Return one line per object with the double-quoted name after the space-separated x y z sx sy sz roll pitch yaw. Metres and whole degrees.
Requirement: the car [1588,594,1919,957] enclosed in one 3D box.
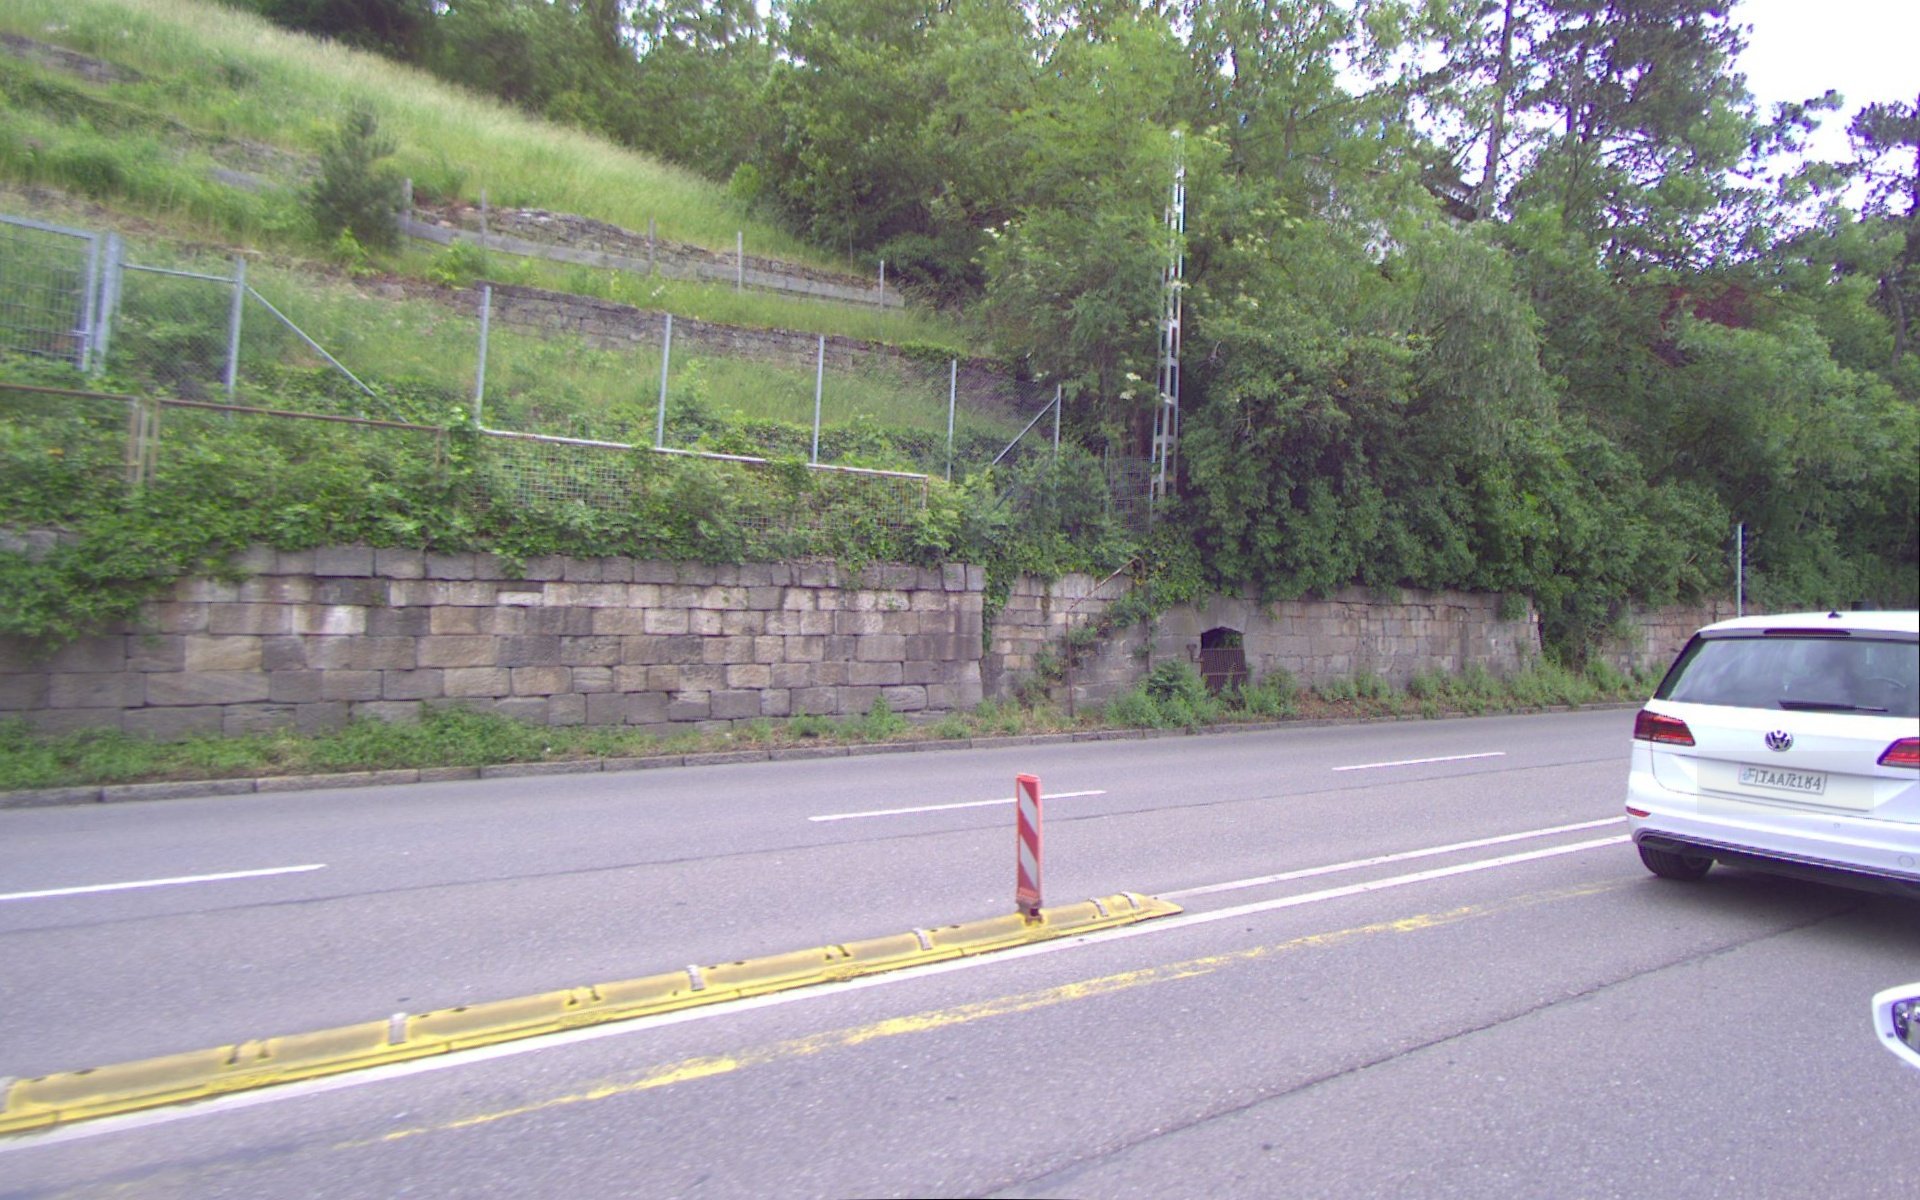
5.726 0.803 5.895 4.225 1.575 1.712 1 -1 -30 "car"
